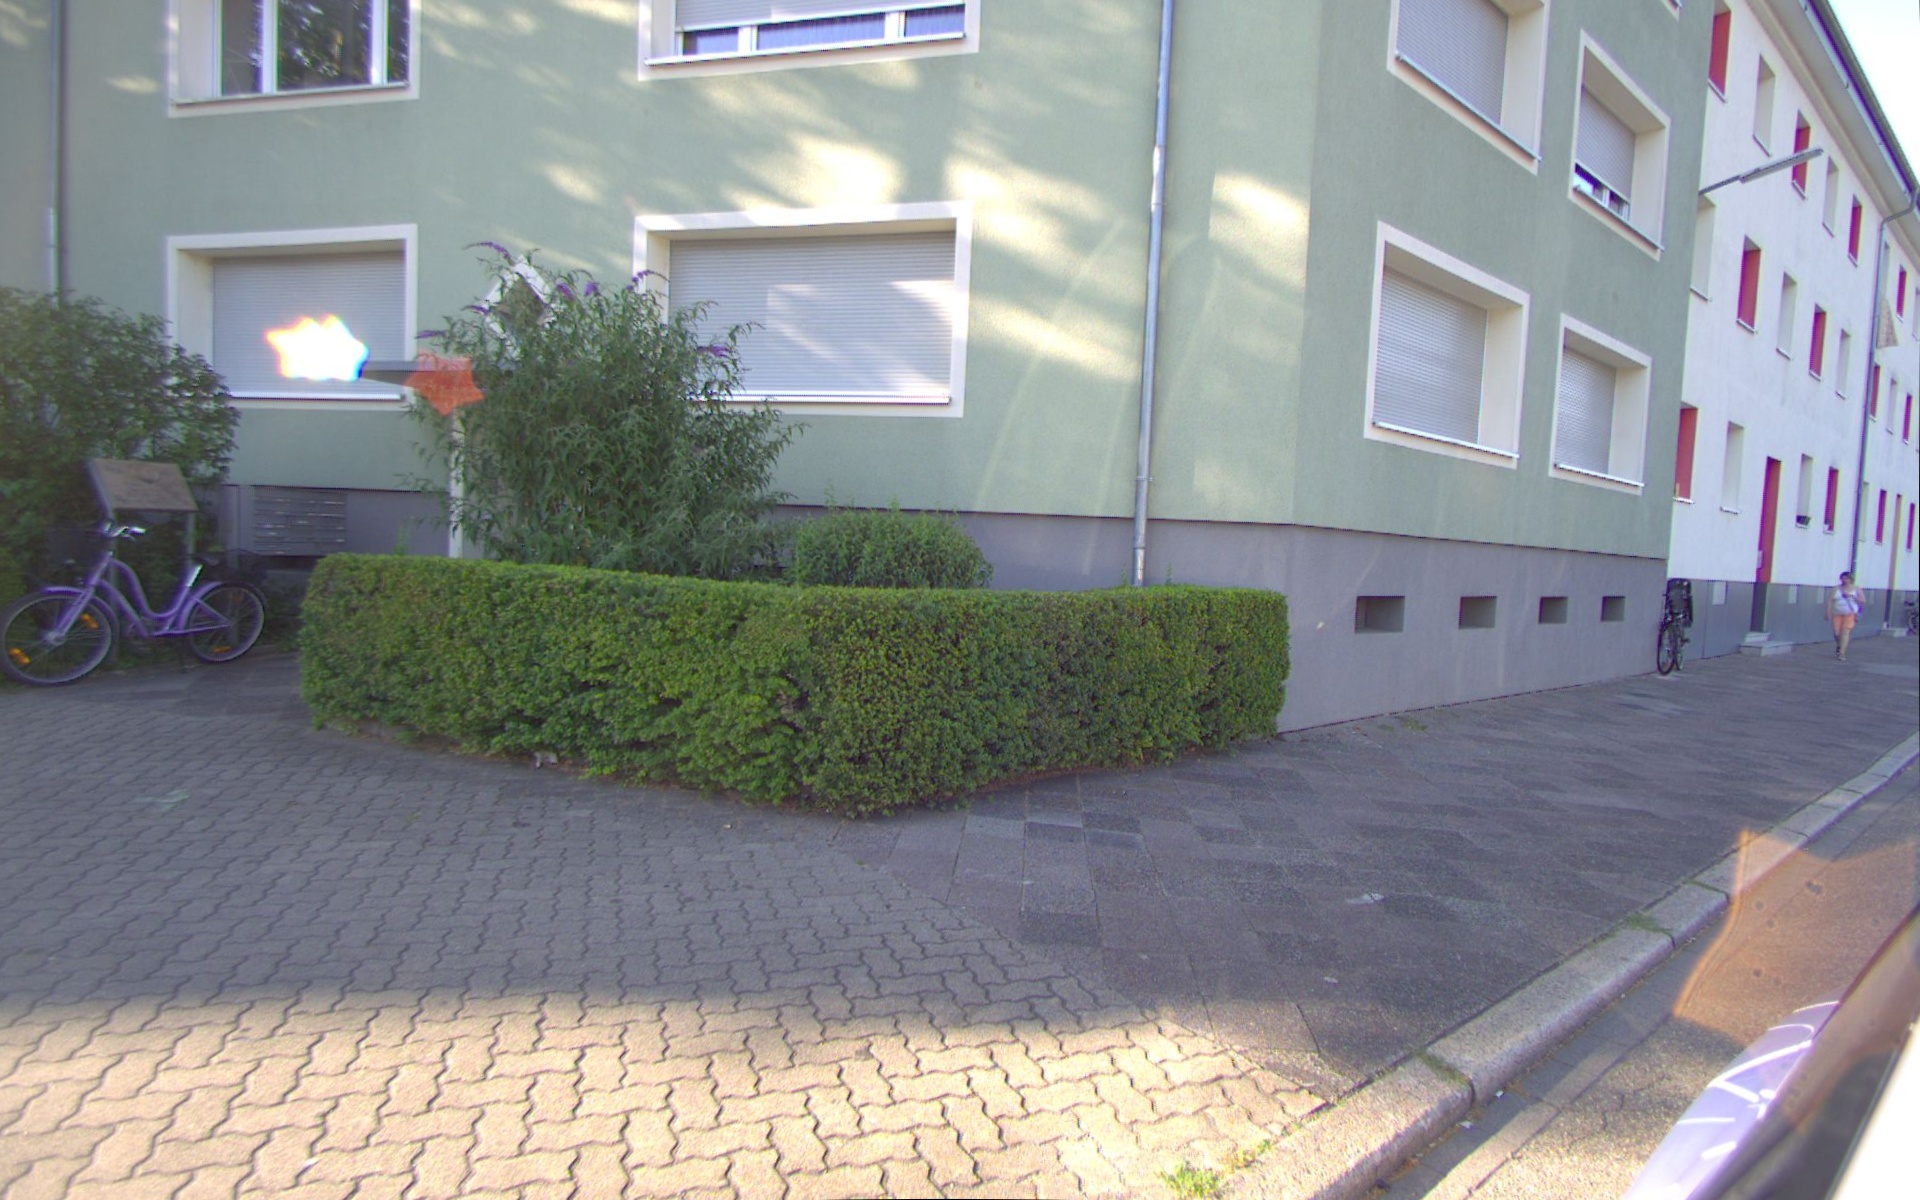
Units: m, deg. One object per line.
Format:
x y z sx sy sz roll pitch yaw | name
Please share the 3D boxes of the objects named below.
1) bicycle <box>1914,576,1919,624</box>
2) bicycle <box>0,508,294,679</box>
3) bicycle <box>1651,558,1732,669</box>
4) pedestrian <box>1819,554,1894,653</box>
29.427 0.013 30.731 1.843 1.429 0.517 -1 4 -44 | bicycle
-5.916 -0.085 7.284 0.515 1.069 1.920 3 3 22 | bicycle
10.127 0.162 13.984 1.843 1.429 0.517 -1 4 -44 | bicycle
16.532 0.054 18.665 0.933 1.727 0.787 0 4 -41 | pedestrian
